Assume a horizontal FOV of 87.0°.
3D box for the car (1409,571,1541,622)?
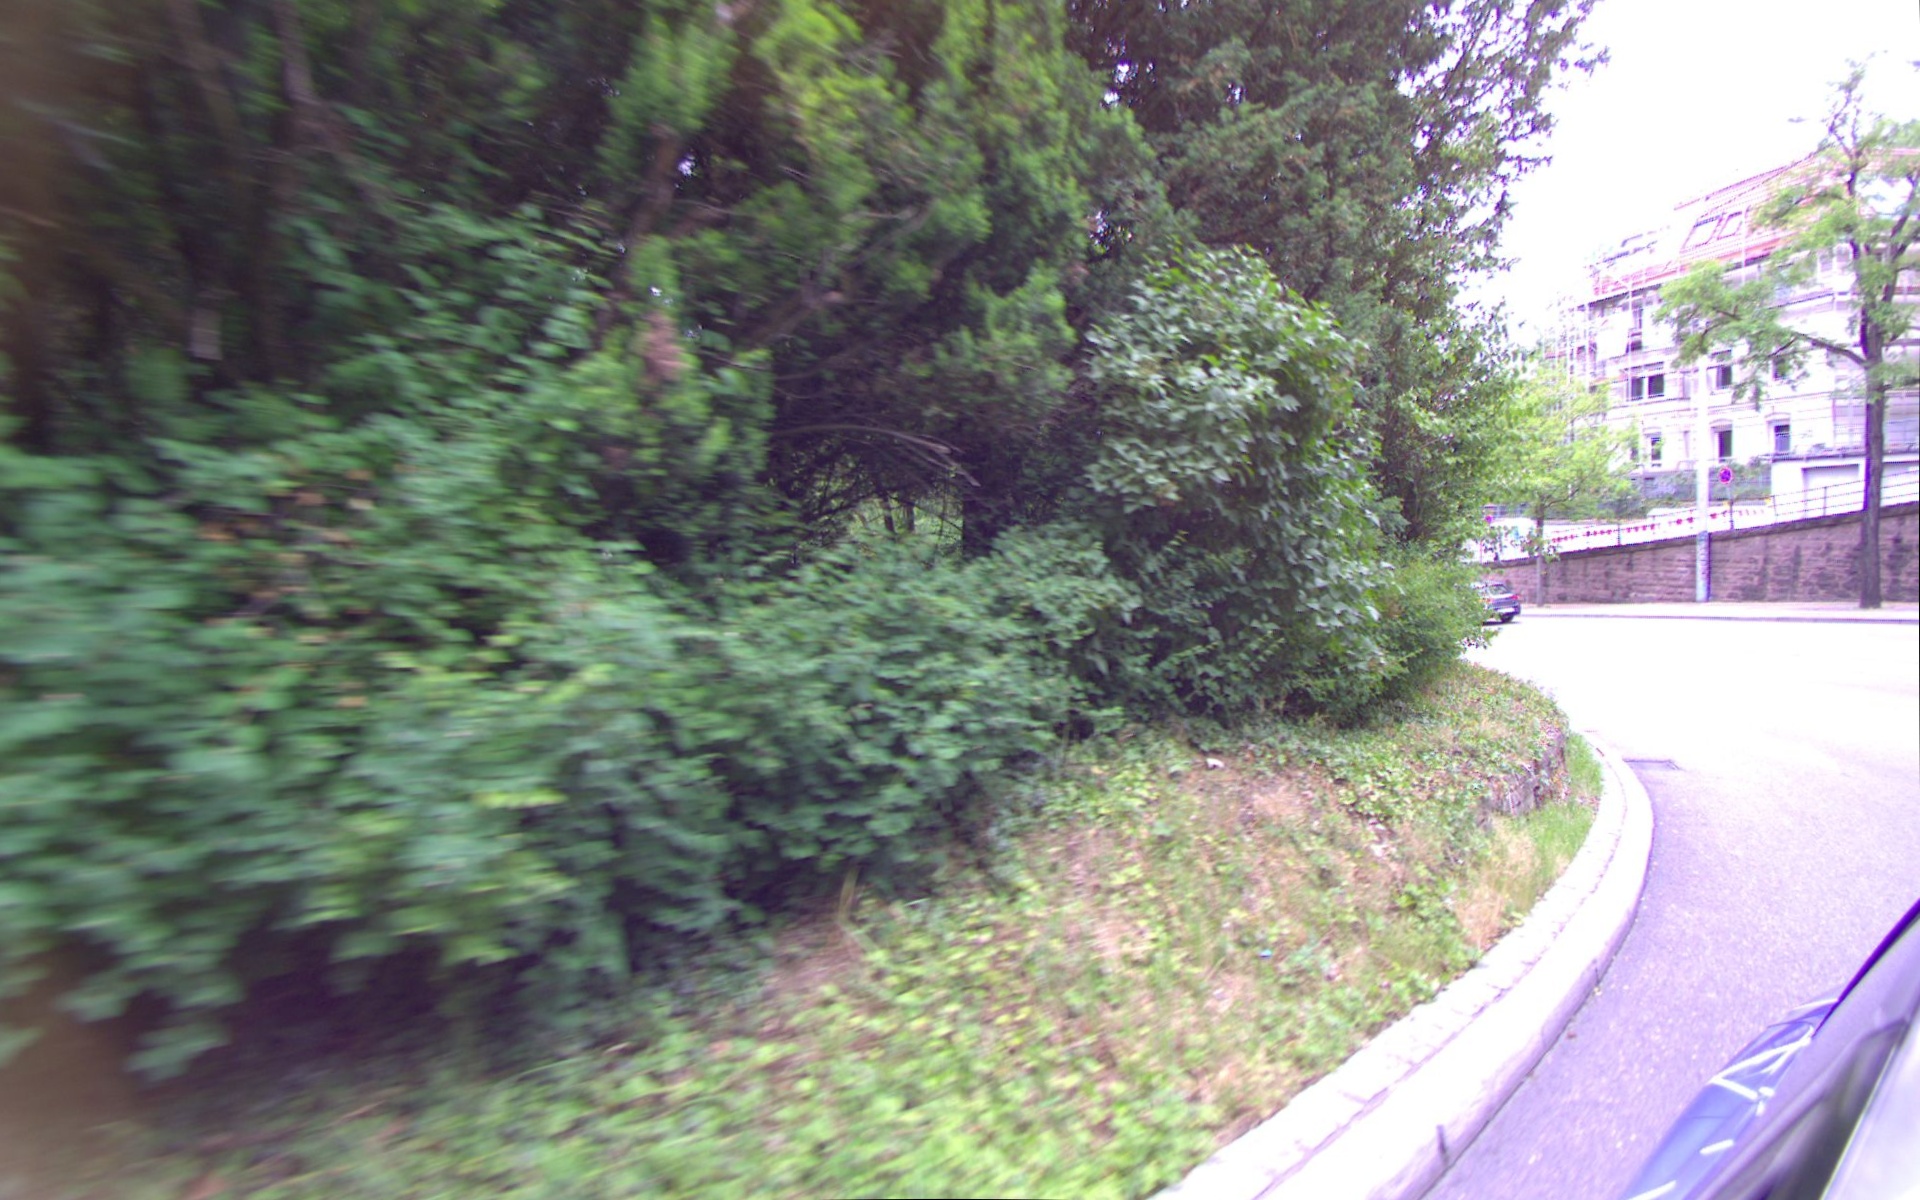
[{"bbox_3d":[18.081,-0.119,35.788,1.753,1.484,4.409,-6,1,-9],"label":"car"}]
